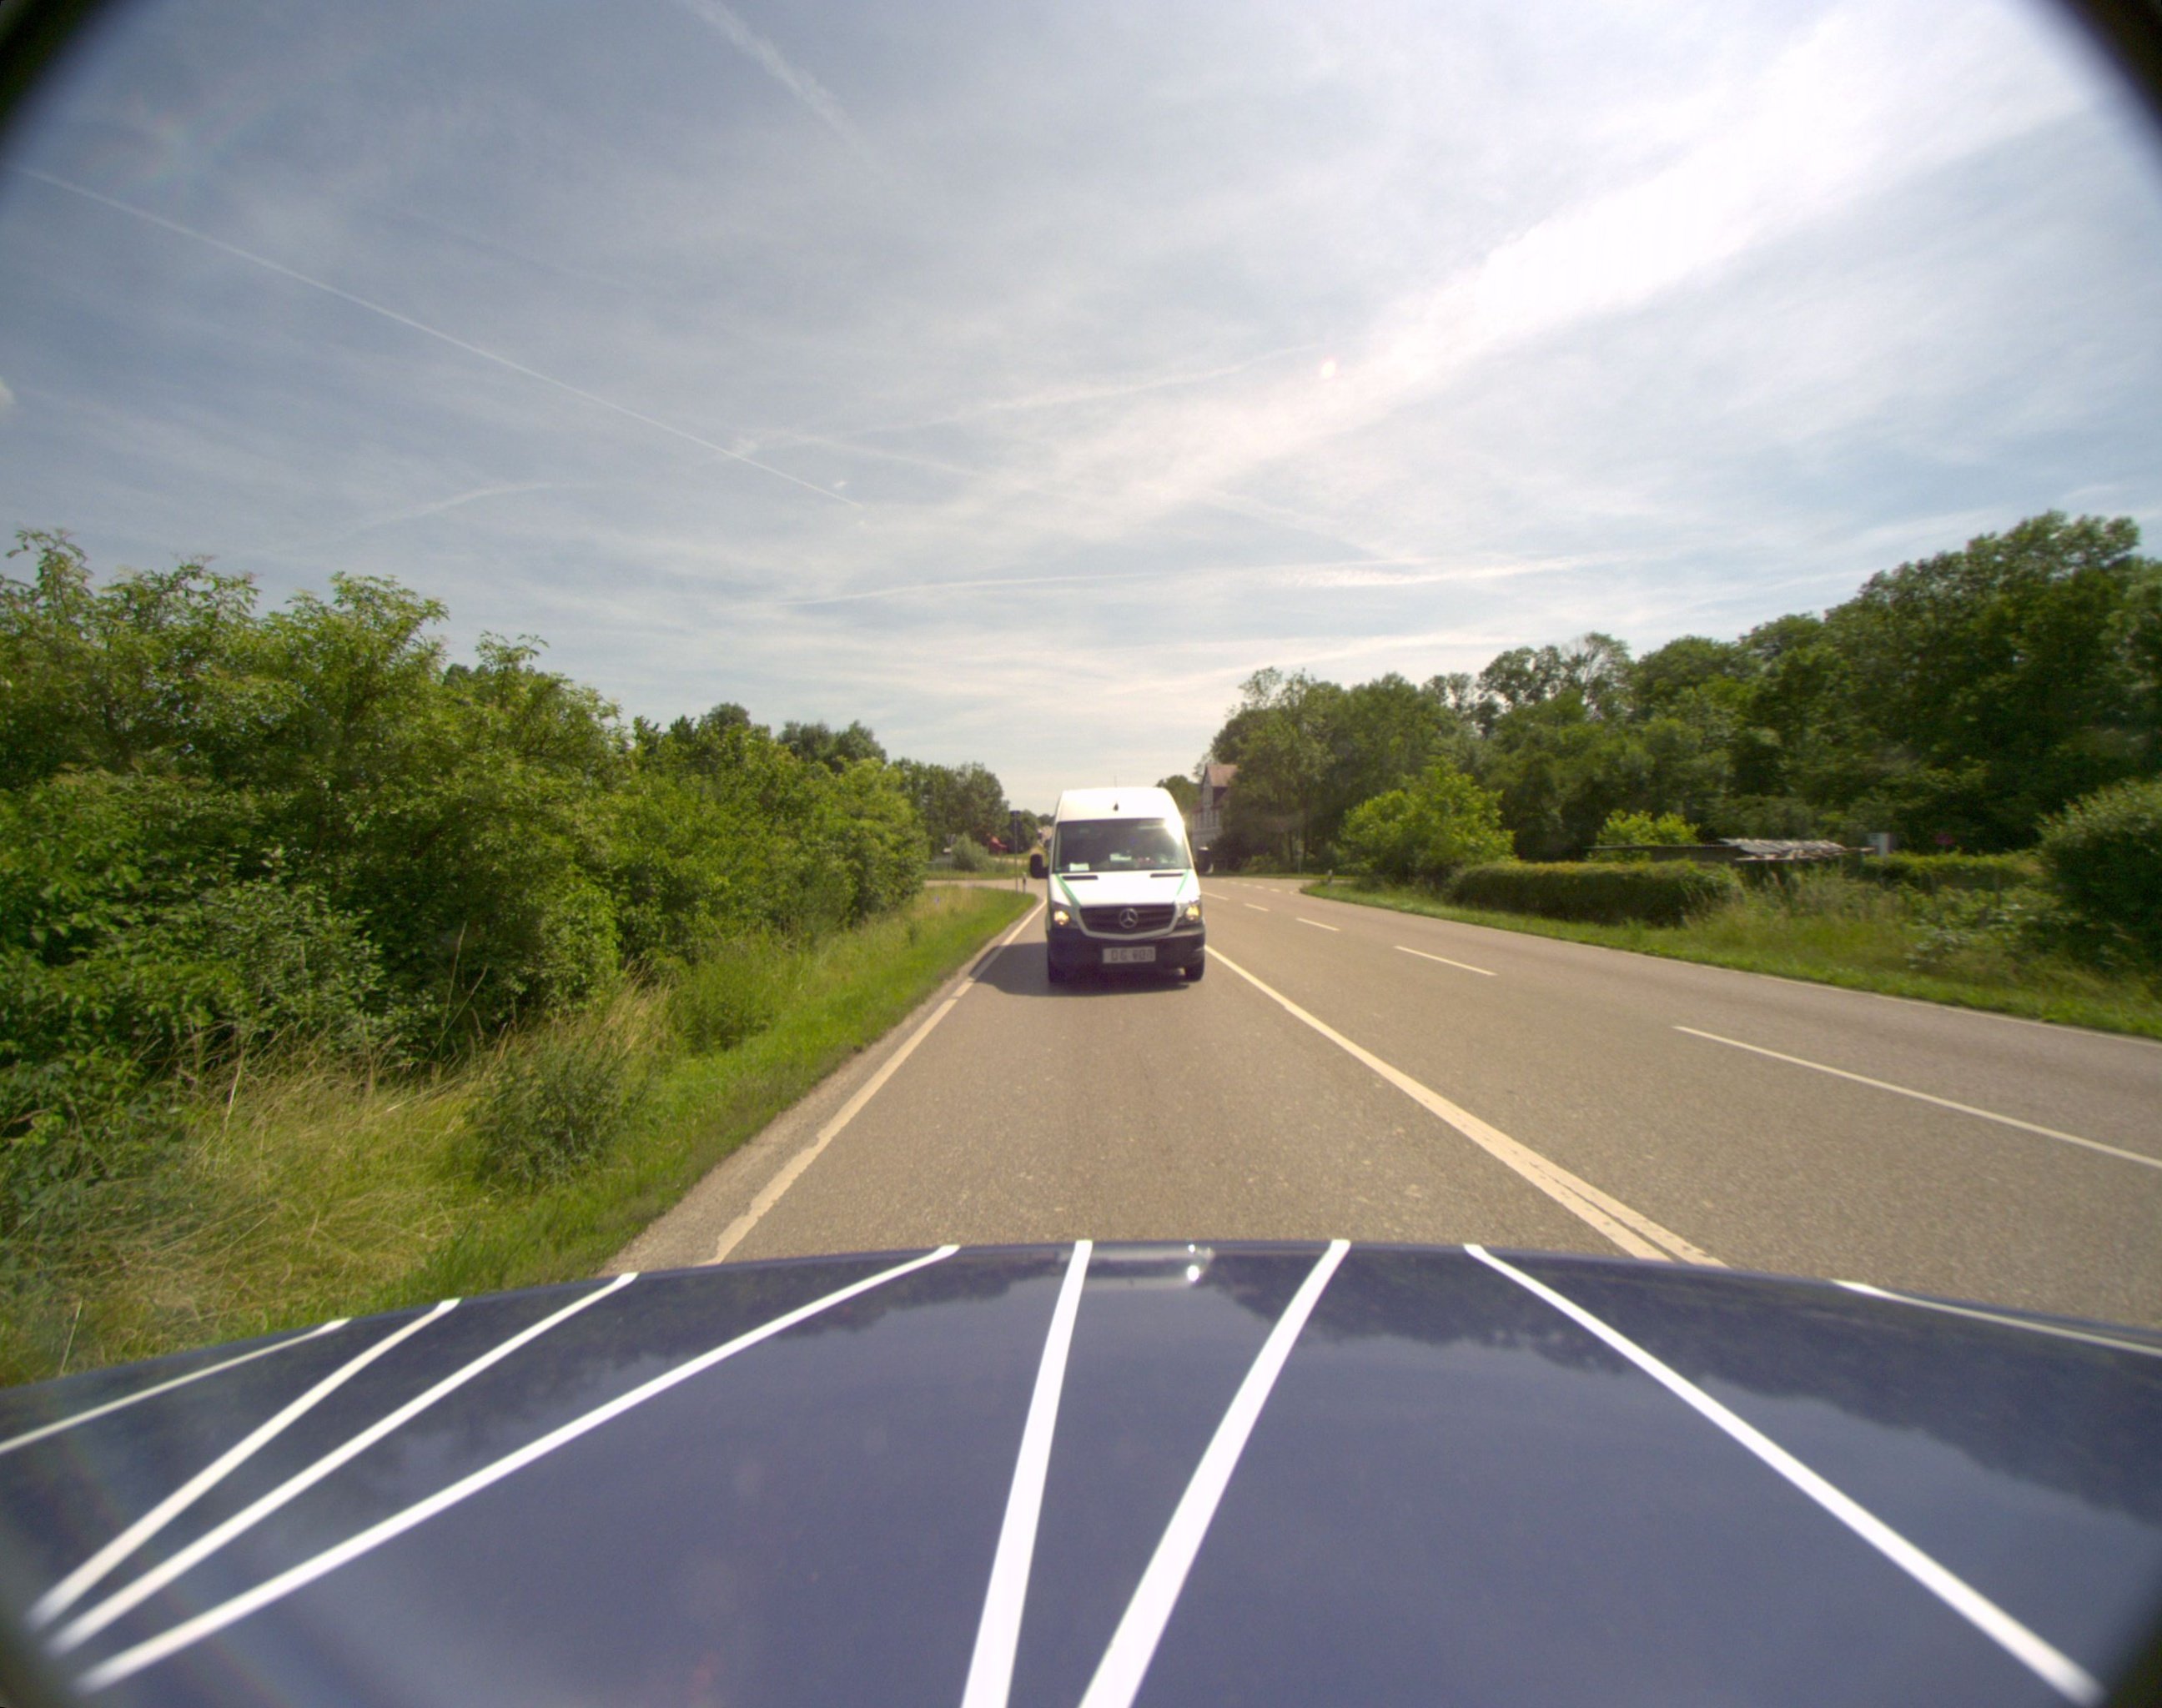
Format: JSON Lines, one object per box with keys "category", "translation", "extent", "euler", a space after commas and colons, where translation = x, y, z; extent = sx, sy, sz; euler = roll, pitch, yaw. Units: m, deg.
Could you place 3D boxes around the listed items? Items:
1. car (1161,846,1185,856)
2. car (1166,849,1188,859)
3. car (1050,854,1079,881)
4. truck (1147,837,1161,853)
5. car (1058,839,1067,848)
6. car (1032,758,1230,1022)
{"category": "car", "translation": [16.496, -0.480, 136.417], "extent": [4.038, 1.609, 1.832], "euler": [-2, 2, -1]}
{"category": "car", "translation": [15.950, 0.031, 126.367], "extent": [3.387, 1.457, 1.609], "euler": [-2, 2, -8]}
{"category": "car", "translation": [-1.134, 0.866, 50.868], "extent": [1.848, 1.692, 4.242], "euler": [0, 0, -2]}
{"category": "truck", "translation": [15.064, -1.906, 157.182], "extent": [2.031, 2.947, 6.770], "euler": [-2, 2, -1]}
{"category": "car", "translation": [-4.612, -2.630, 188.355], "extent": [1.999, 2.166, 3.999], "euler": [-2, 1, -1]}
{"category": "car", "translation": [0.446, 0.368, 10.658], "extent": [1.961, 2.655, 5.679], "euler": [-2, 0, -2]}
